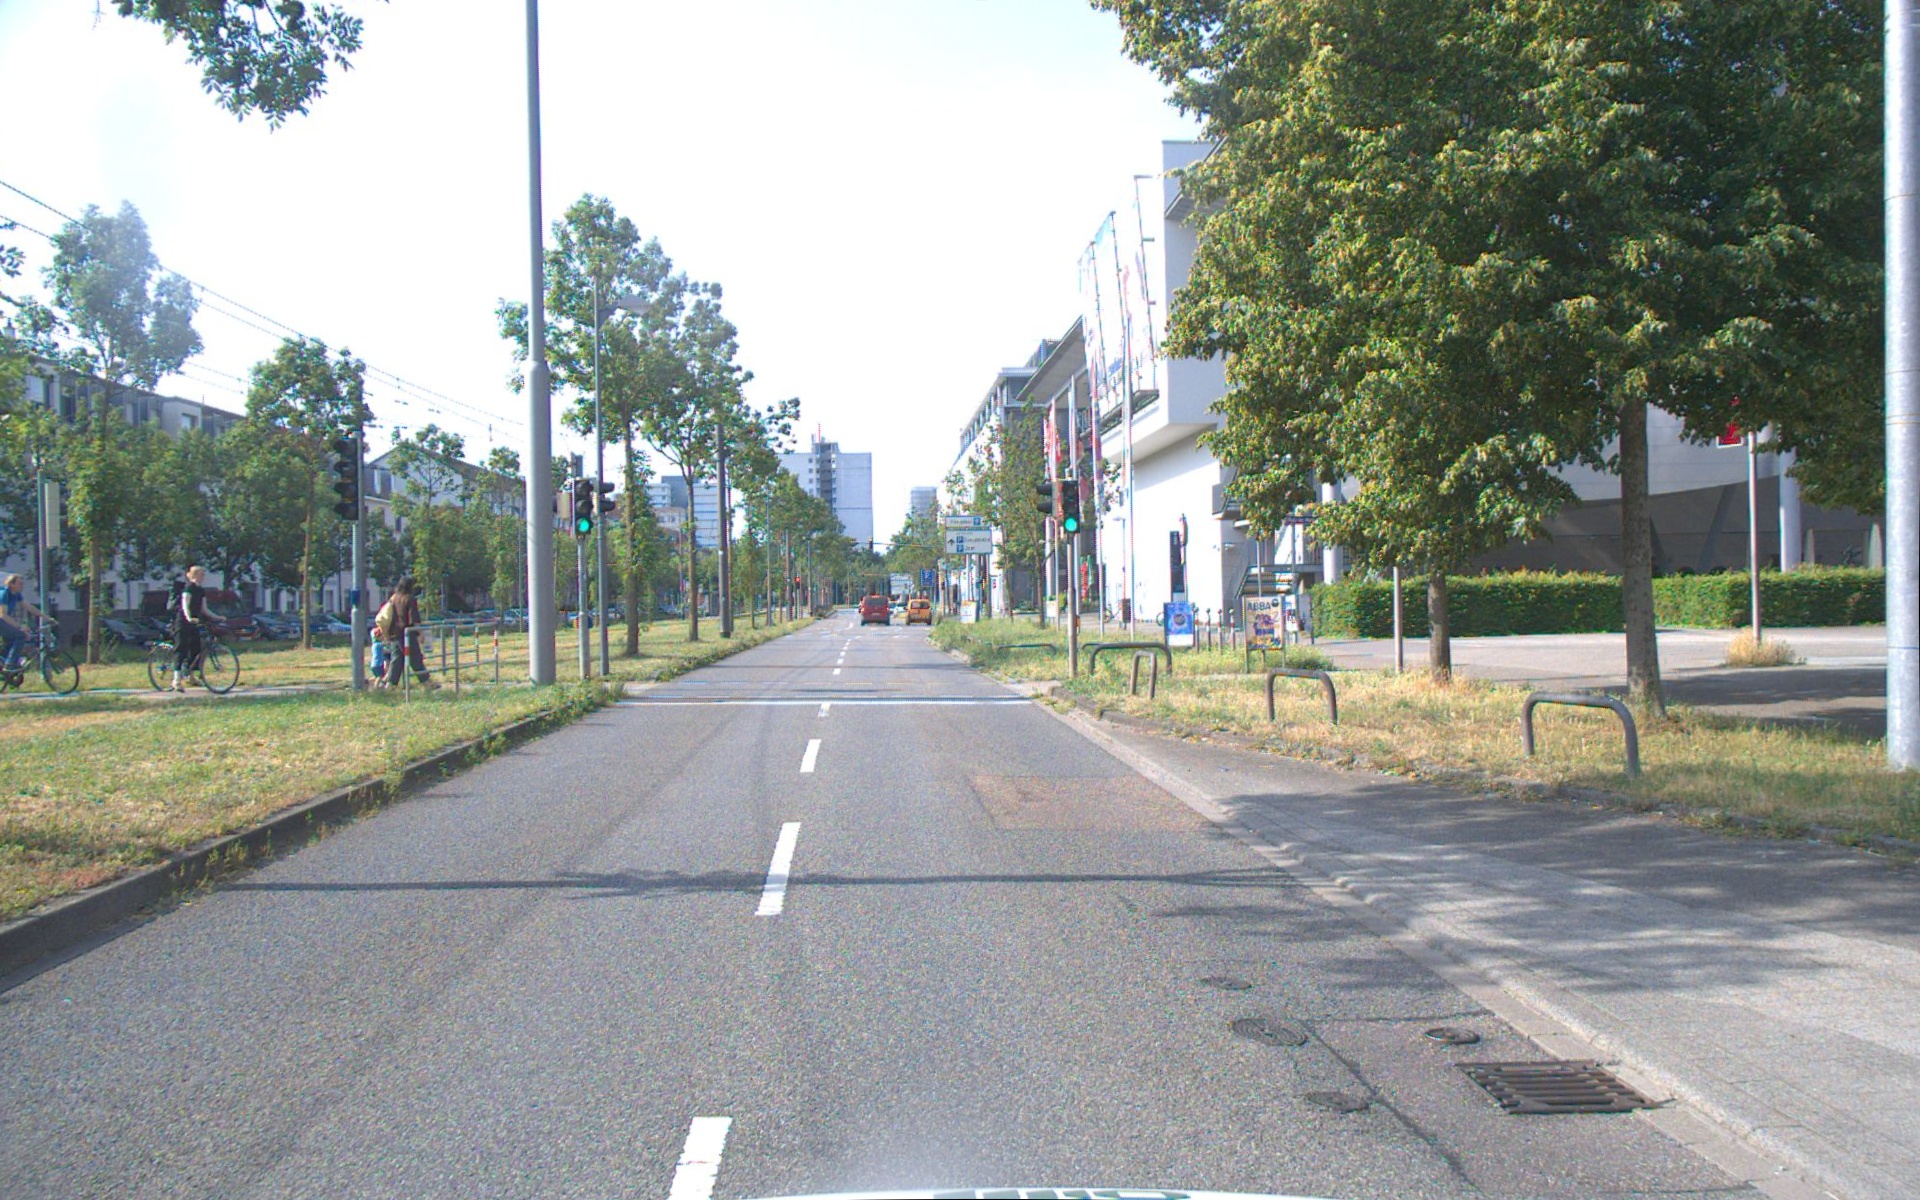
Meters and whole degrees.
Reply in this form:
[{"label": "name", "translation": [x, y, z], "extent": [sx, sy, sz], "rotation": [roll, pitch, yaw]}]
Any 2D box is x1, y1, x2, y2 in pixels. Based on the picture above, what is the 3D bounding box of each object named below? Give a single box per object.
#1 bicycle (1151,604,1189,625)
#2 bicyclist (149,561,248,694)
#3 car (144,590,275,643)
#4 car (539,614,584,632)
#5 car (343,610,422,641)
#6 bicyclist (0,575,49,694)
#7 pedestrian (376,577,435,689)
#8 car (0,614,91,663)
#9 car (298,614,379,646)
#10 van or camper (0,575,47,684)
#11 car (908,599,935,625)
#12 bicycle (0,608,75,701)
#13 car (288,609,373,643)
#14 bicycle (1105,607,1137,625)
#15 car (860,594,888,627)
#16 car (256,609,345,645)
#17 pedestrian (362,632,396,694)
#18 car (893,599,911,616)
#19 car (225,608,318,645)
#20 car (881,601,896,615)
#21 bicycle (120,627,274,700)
[{"label": "bicycle", "translation": [9.344, 0.653, 73.751], "extent": [1.590, 0.903, 0.550], "rotation": [1, 0, -5]}, {"label": "bicyclist", "translation": [-11.487, 0.414, 24.969], "extent": [1.123, 1.968, 0.686], "rotation": [1, -1, 2]}, {"label": "car", "translation": [-30.829, 0.652, 67.912], "extent": [5.111, 2.049, 1.876], "rotation": [1, 0, 22]}, {"label": "car", "translation": [-37.682, 2.145, 156.447], "extent": [3.906, 1.624, 1.655], "rotation": [1, 0, 22]}, {"label": "car", "translation": [-31.526, 1.371, 90.276], "extent": [3.906, 1.624, 1.655], "rotation": [1, 0, 22]}, {"label": "bicyclist", "translation": [-14.624, 0.523, 25.209], "extent": [1.128, 1.792, 0.683], "rotation": [1, -1, -17]}, {"label": "pedestrian", "translation": [-8.061, 0.476, 24.060], "extent": [0.612, 1.599, 0.710], "rotation": [1, 0, -3]}, {"label": "car", "translation": [-29.089, 1.169, 51.246], "extent": [3.906, 1.437, 1.719], "rotation": [1, 0, 22]}, {"label": "car", "translation": [-31.845, 1.511, 84.750], "extent": [3.906, 1.557, 1.463], "rotation": [1, 0, 22]}, {"label": "van or camper", "translation": [-23.590, 0.683, 38.024], "extent": [2.160, 2.575, 6.025], "rotation": [1, 0, -4]}, {"label": "car", "translation": [-2.637, 0.819, 112.346], "extent": [1.713, 1.679, 3.214], "rotation": [1, 0, -3]}, {"label": "bicycle", "translation": [-14.733, 0.860, 25.175], "extent": [2.033, 1.347, 0.780], "rotation": [-3, 1, -16]}, {"label": "car", "translation": [-30.343, 1.228, 79.713], "extent": [3.906, 1.557, 1.463], "rotation": [1, 0, 22]}, {"label": "bicycle", "translation": [8.616, 0.857, 88.515], "extent": [1.590, 0.903, 0.550], "rotation": [1, 0, -5]}, {"label": "car", "translation": [-5.524, 0.652, 106.430], "extent": [1.713, 2.049, 3.214], "rotation": [1, 0, -3]}, {"label": "car", "translation": [-30.611, 1.240, 76.731], "extent": [3.906, 1.557, 1.463], "rotation": [1, 0, 22]}, {"label": "pedestrian", "translation": [-8.561, 0.927, 24.367], "extent": [0.334, 0.890, 0.461], "rotation": [1, 0, -3]}, {"label": "car", "translation": [-5.876, 0.742, 166.636], "extent": [1.713, 1.679, 3.214], "rotation": [1, 0, -3]}, {"label": "car", "translation": [-30.724, 1.169, 73.799], "extent": [3.906, 1.557, 1.463], "rotation": [1, 0, 22]}, {"label": "car", "translation": [-8.312, 0.939, 192.682], "extent": [1.713, 1.679, 3.214], "rotation": [1, 0, -3]}, {"label": "bicycle", "translation": [-11.508, 0.954, 24.967], "extent": [2.023, 1.060, 0.668], "rotation": [-1, -1, 3]}]
